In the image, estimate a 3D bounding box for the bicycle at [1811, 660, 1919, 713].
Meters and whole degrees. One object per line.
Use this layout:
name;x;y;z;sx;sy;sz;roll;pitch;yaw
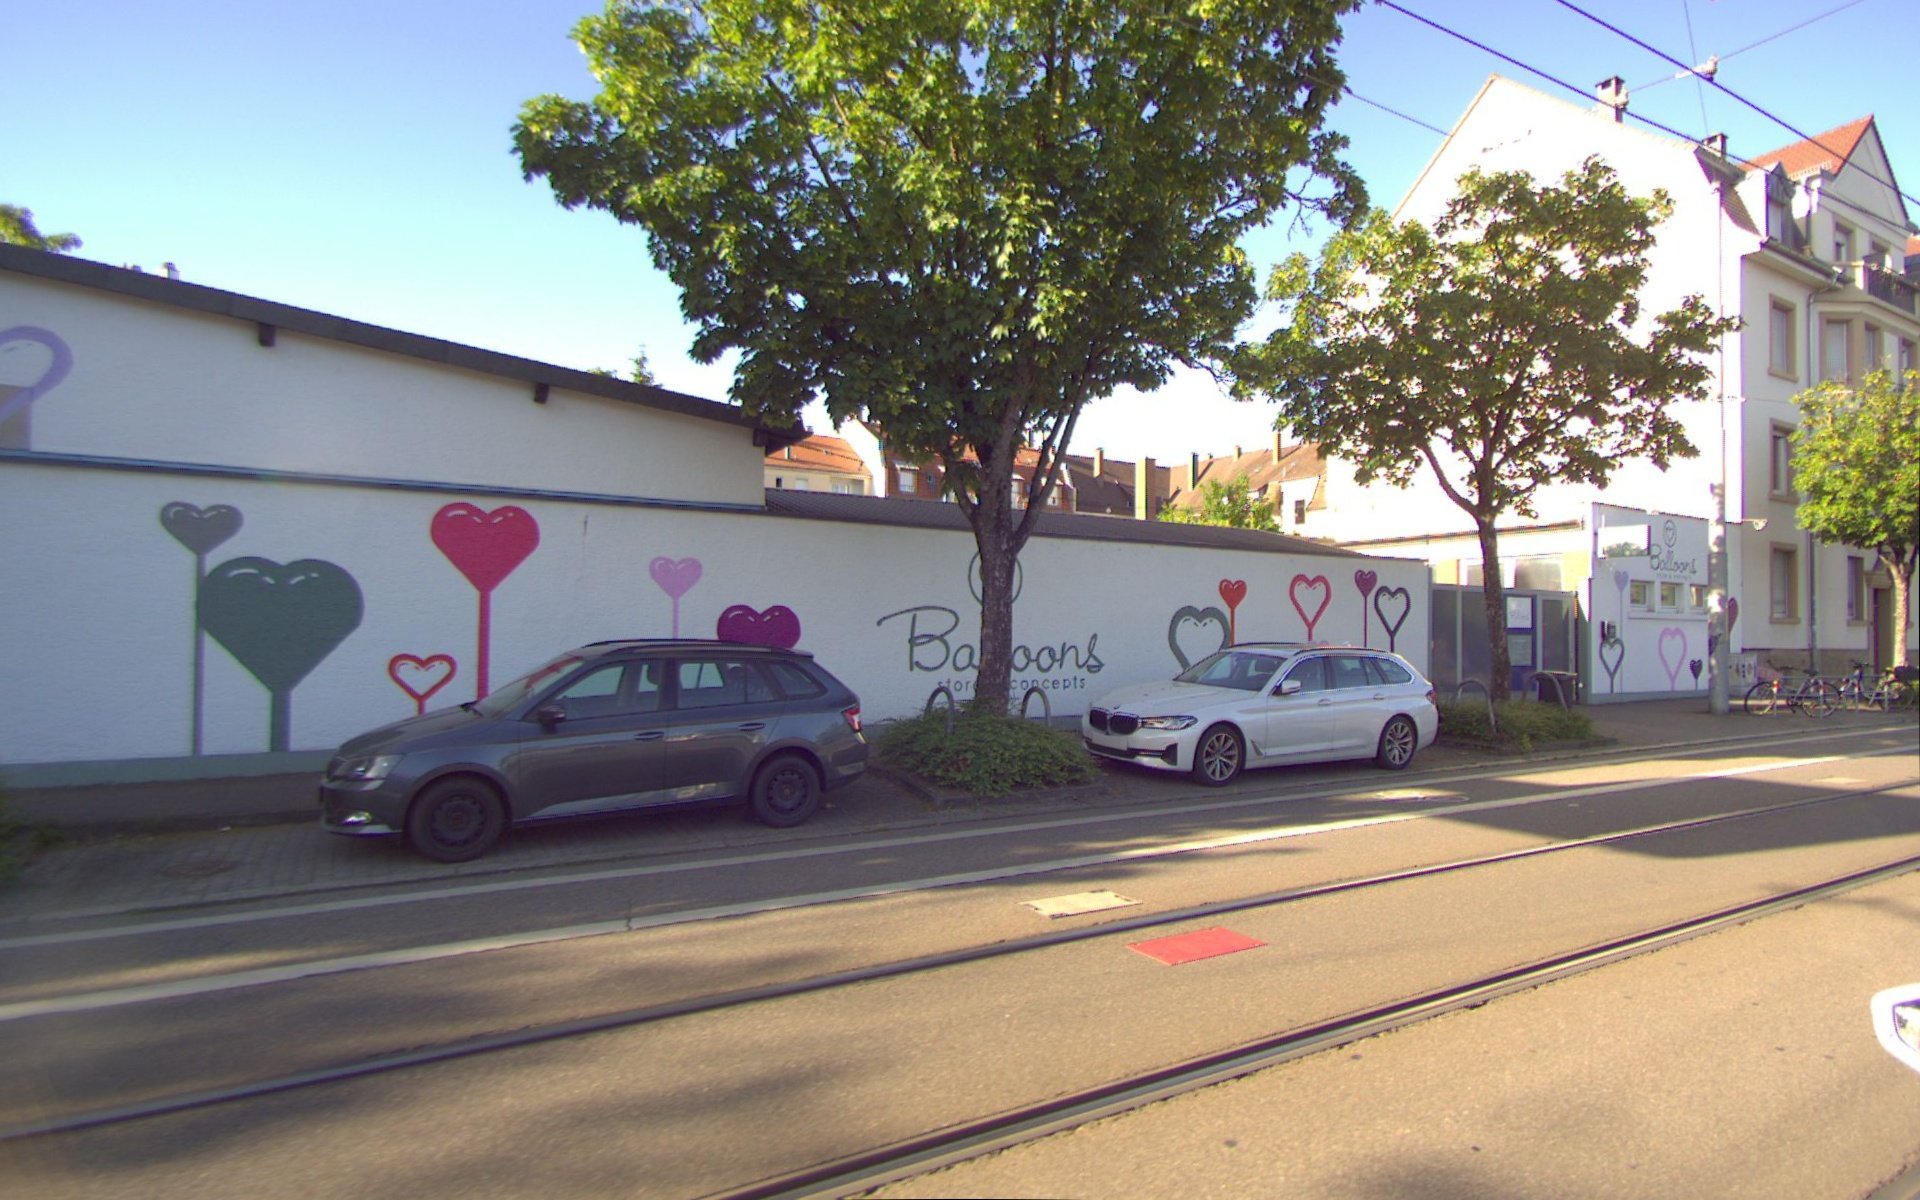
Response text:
bicycle;19.966;1.893;22.020;1.947;1.053;0.532;1;-1;14

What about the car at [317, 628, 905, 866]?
car;-2.755;1.039;8.366;4.255;1.505;1.764;2;-1;-31

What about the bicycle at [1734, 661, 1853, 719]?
bicycle;16.783;1.803;20.266;1.750;1.053;0.670;1;-1;7

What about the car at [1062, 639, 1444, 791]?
car;3.663;1.280;12.300;4.608;1.510;1.855;2;-1;-31

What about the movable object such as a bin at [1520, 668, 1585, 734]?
movable object such as a bin;9.582;1.616;16.239;0.694;0.972;0.579;2;3;-30
